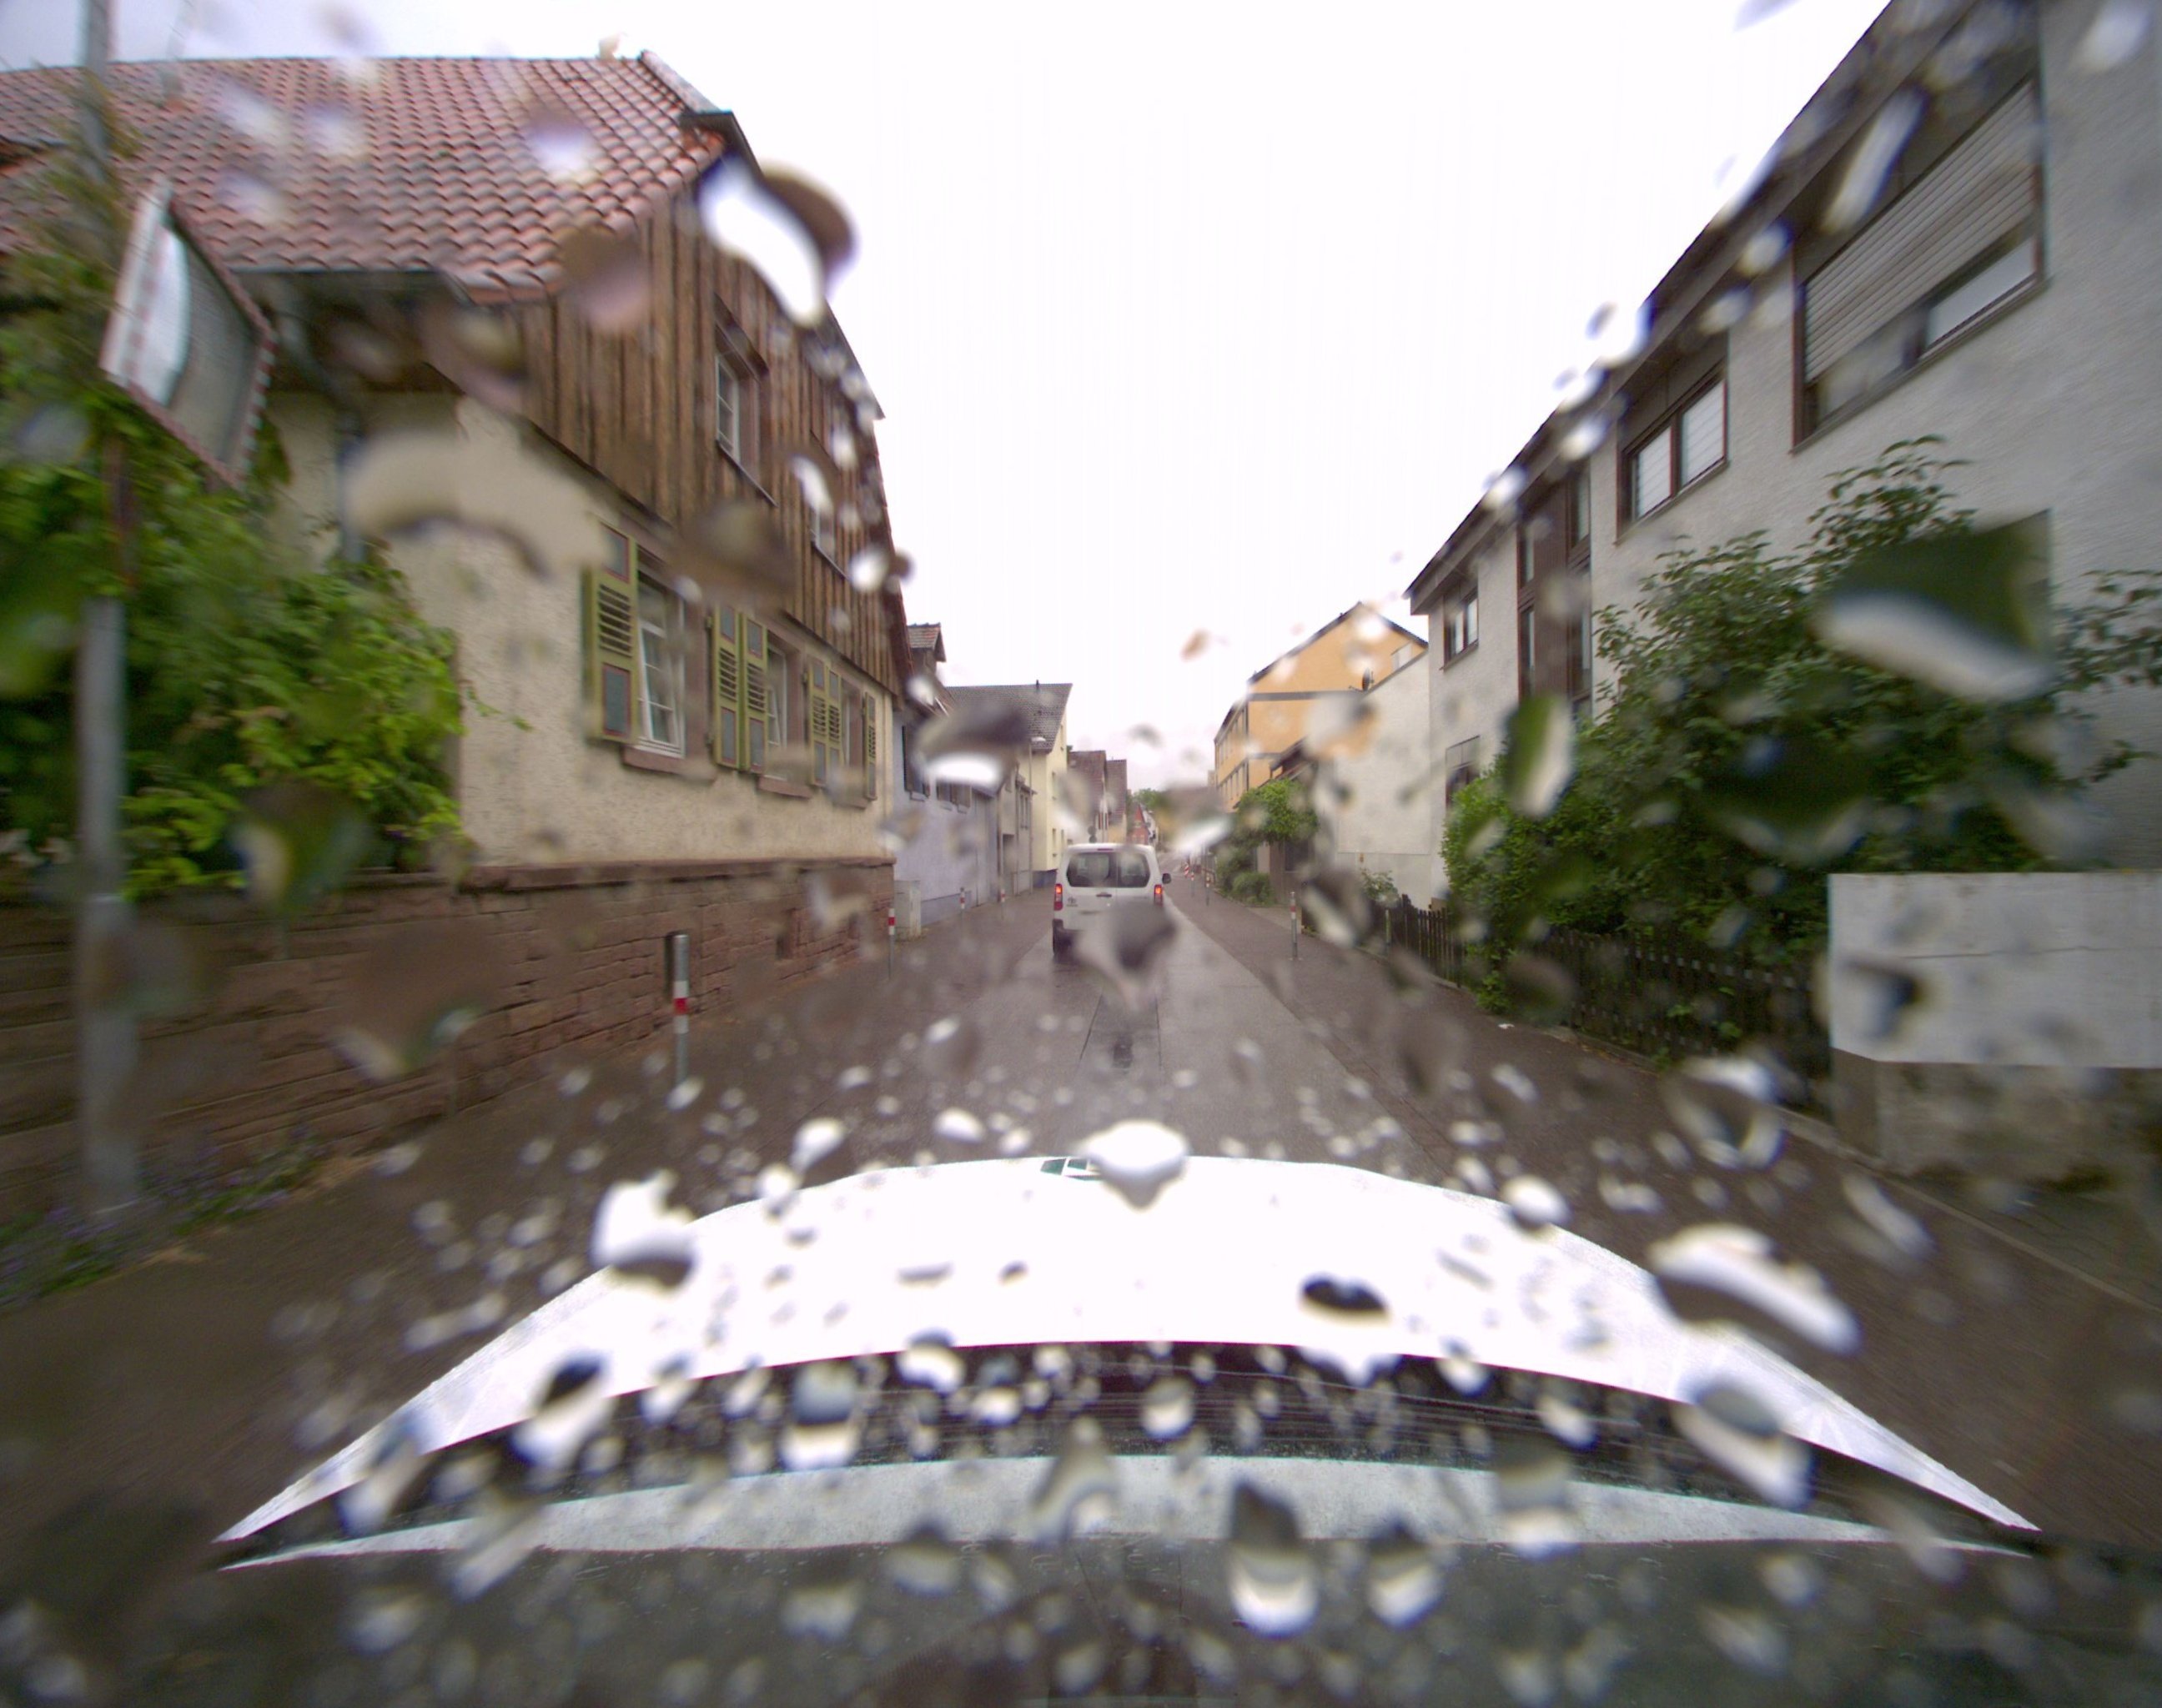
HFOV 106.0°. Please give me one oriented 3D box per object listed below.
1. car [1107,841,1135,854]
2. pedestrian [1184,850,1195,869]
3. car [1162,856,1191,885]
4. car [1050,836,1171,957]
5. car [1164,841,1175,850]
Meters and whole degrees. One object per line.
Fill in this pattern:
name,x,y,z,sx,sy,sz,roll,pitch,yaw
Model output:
car,5.698,-0.898,117.124,3.431,1.559,1.987,-5,1,-19
pedestrian,10.826,0.524,81.178,1.046,1.893,0.878,-2,-1,4
car,7.107,1.173,60.497,1.983,2.014,4.008,-2,-1,7
car,0.595,0.659,14.267,1.767,1.780,4.005,-2,0,4
car,15.292,-1.428,140.647,1.578,1.441,3.777,1,0,11
